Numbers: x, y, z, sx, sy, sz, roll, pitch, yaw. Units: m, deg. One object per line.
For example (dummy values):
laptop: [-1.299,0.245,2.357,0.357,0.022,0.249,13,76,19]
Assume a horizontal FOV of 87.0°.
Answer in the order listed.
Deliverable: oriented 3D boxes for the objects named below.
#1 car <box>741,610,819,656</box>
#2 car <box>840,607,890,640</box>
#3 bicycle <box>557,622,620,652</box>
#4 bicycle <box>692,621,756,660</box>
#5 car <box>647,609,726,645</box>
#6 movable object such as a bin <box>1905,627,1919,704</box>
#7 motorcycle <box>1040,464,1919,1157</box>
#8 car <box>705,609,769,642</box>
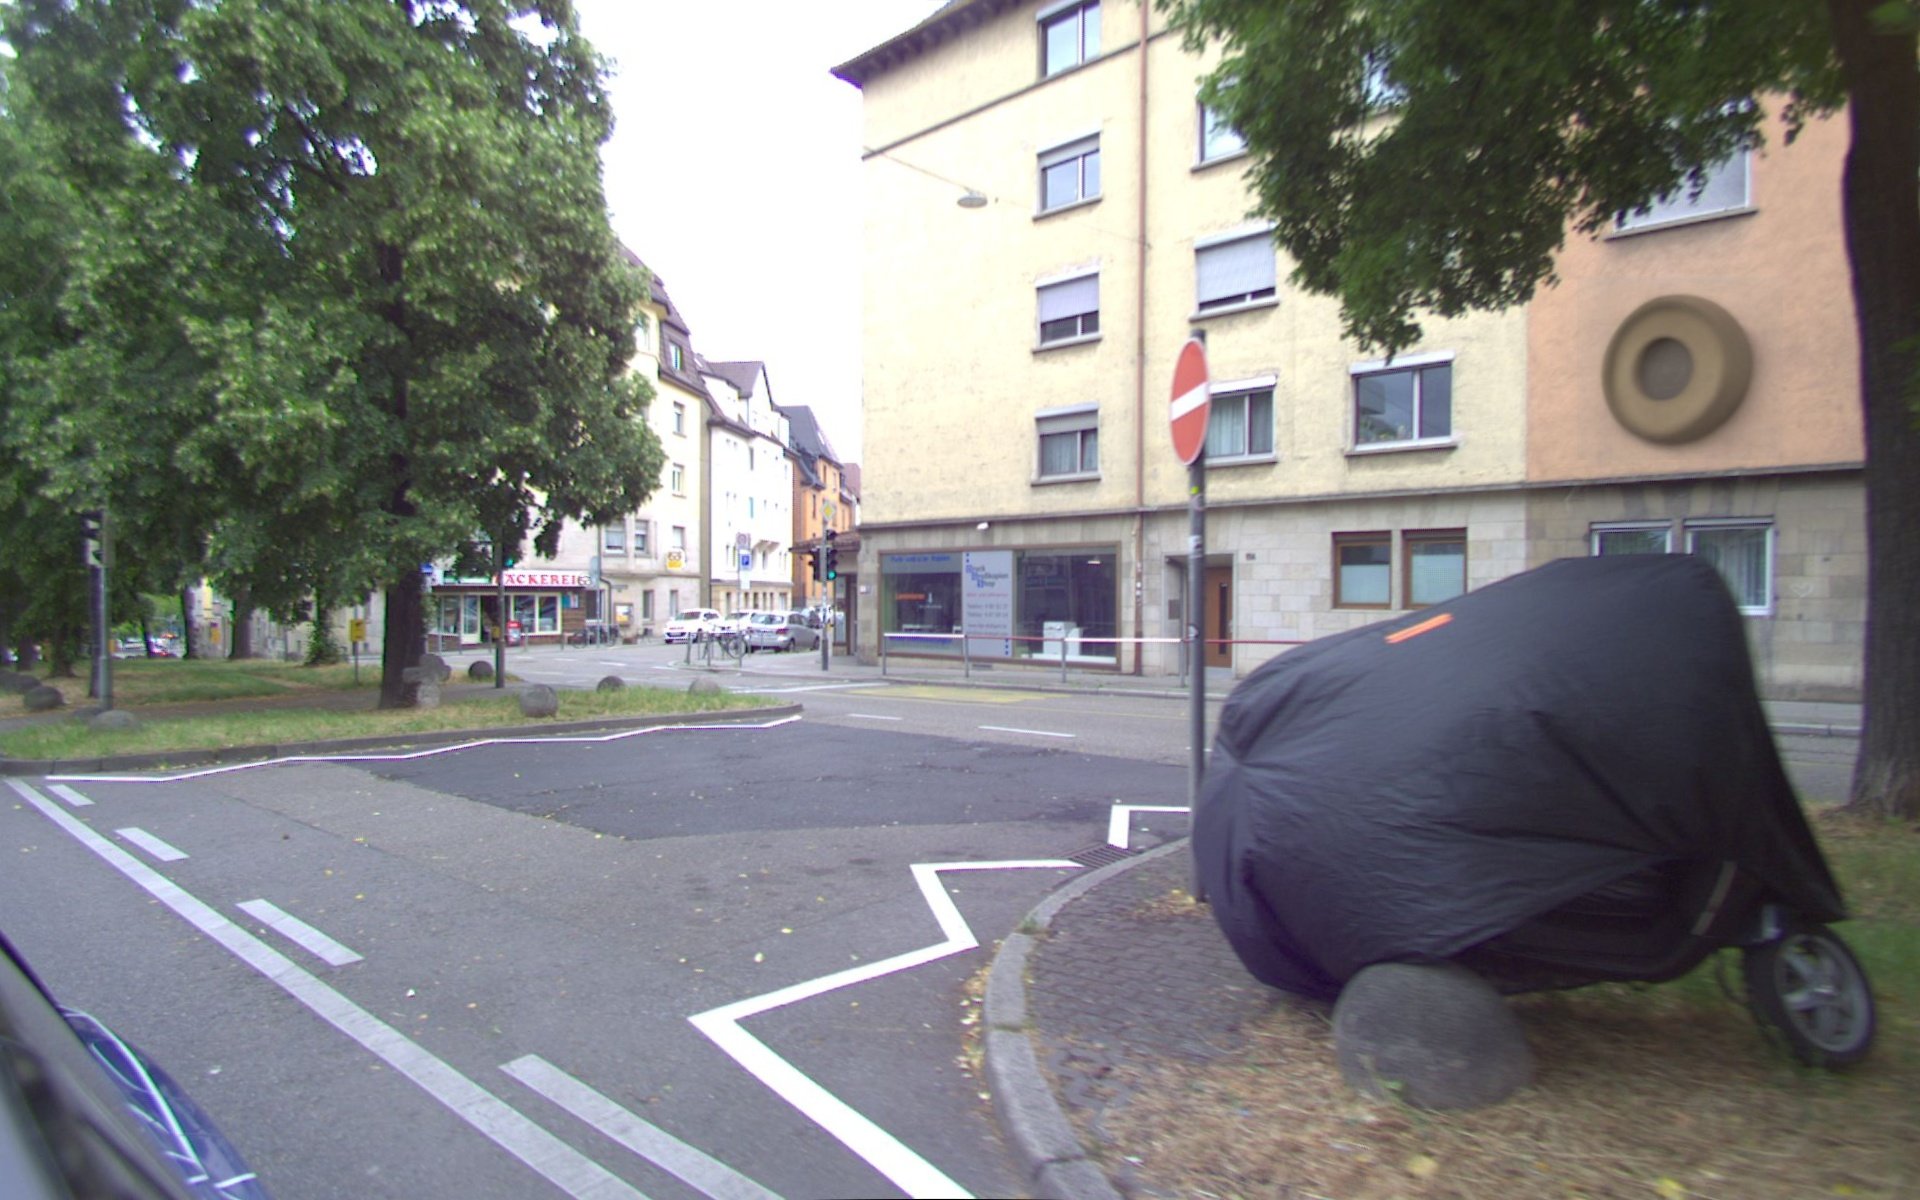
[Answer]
car: [-6.652,1.185,37.734,1.670,1.553,3.629,-3,-1,10]
car: [-4.739,1.167,50.993,1.709,1.553,3.504,-1,0,9]
bicycle: [-15.383,1.513,41.943,2.310,1.108,0.777,-2,0,-30]
bicycle: [-7.664,1.313,32.785,2.049,1.158,0.677,-3,0,30]
car: [-12.490,1.195,46.506,1.964,1.553,3.791,-1,0,13]
movable object such as a bin: [12.308,0.816,12.580,0.779,0.934,0.507,-2,0,41]
motorcycle: [1.575,0.550,3.341,2.622,1.542,0.814,-5,-5,42]
car: [-11.215,1.288,51.181,1.845,1.553,3.499,-1,0,13]
